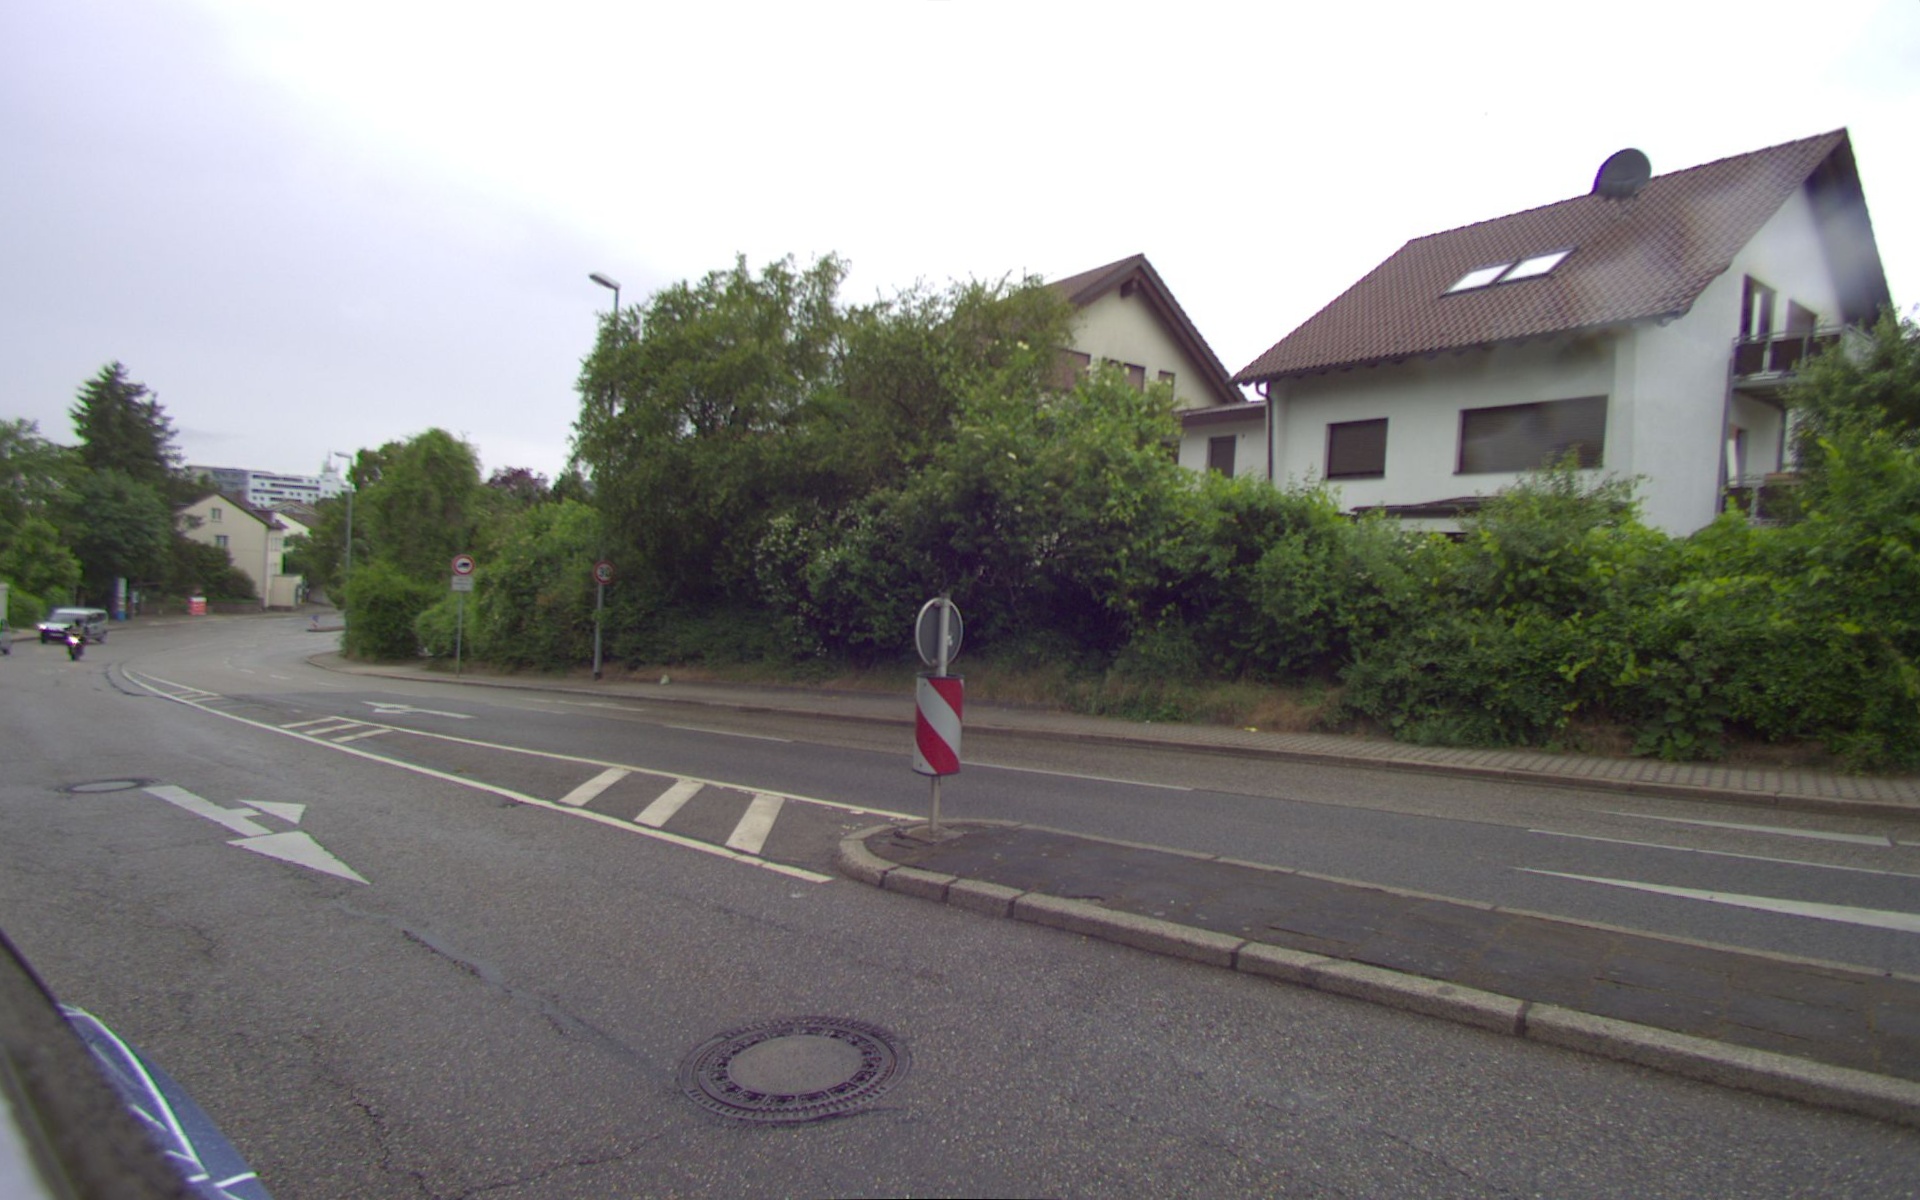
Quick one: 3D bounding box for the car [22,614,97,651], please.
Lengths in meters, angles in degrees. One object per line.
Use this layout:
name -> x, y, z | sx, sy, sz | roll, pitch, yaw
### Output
car -> -47.834, 1.751, 53.850 | 1.748, 1.788, 4.013 | 5, -4, -25

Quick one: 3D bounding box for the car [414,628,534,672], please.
car -> -19.022, 1.921, 39.683 | 3.853, 1.451, 1.814 | -3, 1, -41

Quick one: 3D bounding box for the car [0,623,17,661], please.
car -> -38.256, 1.571, 39.219 | 1.789, 1.449, 4.010 | 6, -4, -34

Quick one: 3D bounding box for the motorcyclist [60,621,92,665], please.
motorcyclist -> -33.842, 1.650, 38.756 | 0.755, 1.655, 0.676 | 5, -4, -38

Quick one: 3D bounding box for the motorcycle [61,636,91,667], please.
motorcycle -> -33.794, 1.961, 38.708 | 0.682, 1.061, 1.751 | 5, -3, -37

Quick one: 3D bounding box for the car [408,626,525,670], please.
car -> -20.510, 1.942, 42.125 | 3.939, 1.548, 2.003 | -3, 1, -42
